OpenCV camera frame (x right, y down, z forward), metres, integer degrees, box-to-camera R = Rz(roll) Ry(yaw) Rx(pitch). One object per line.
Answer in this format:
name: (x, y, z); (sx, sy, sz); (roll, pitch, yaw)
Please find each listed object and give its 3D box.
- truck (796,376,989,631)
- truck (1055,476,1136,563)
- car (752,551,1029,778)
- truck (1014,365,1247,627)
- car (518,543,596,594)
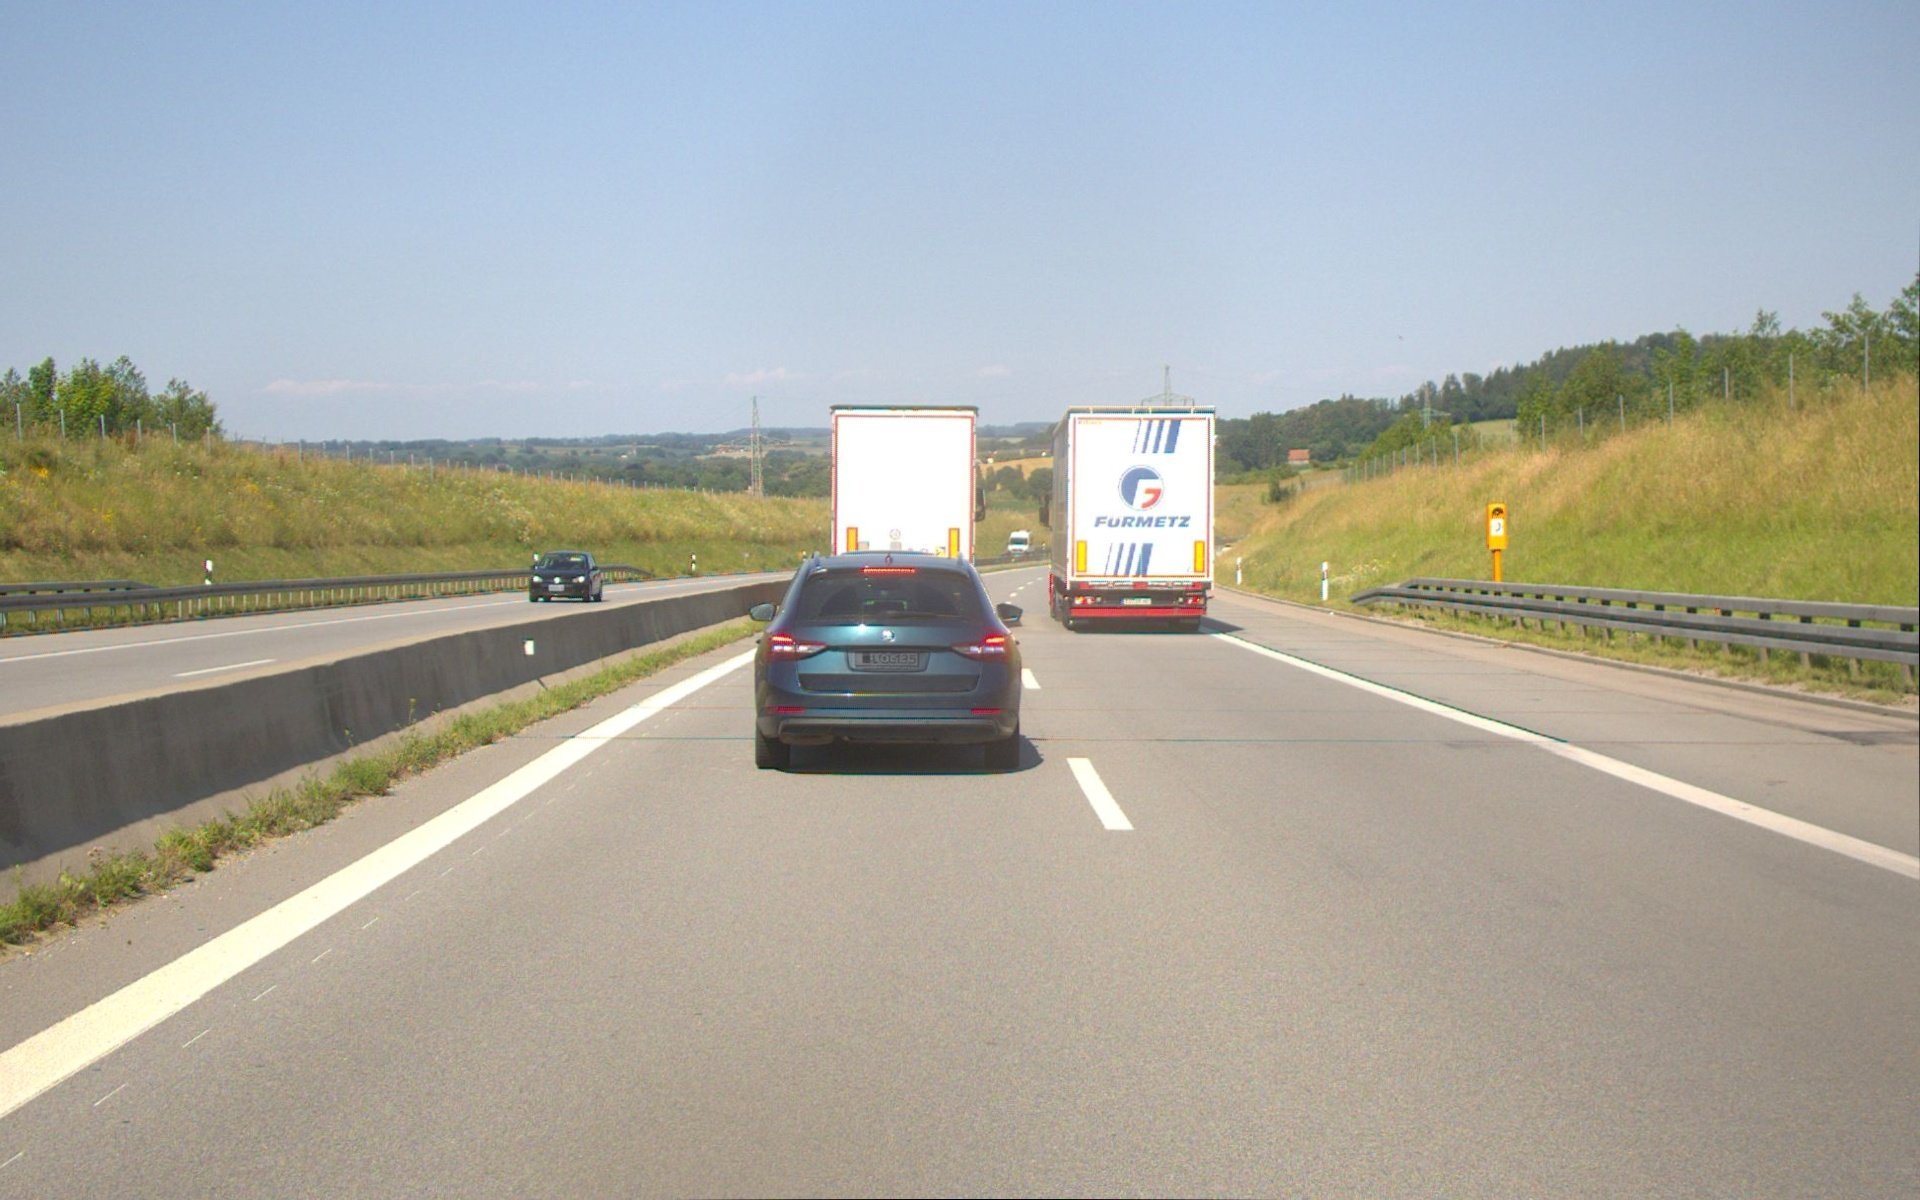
truck: (-1.196, -1.813, 66.218); (3.211, 4.366, 11.234); (-3, 1, 0)
truck: (7.179, -4.277, 183.587); (3.604, 4.366, 11.234); (-3, 1, 0)
car: (-0.505, 0.388, 23.924); (1.776, 1.436, 3.789); (0, 1, -2)
truck: (3.030, -1.901, 64.940); (3.604, 4.366, 11.234); (-3, 1, 0)
car: (-11.711, -0.930, 100.121); (1.746, 1.351, 4.000); (-3, 1, 0)
